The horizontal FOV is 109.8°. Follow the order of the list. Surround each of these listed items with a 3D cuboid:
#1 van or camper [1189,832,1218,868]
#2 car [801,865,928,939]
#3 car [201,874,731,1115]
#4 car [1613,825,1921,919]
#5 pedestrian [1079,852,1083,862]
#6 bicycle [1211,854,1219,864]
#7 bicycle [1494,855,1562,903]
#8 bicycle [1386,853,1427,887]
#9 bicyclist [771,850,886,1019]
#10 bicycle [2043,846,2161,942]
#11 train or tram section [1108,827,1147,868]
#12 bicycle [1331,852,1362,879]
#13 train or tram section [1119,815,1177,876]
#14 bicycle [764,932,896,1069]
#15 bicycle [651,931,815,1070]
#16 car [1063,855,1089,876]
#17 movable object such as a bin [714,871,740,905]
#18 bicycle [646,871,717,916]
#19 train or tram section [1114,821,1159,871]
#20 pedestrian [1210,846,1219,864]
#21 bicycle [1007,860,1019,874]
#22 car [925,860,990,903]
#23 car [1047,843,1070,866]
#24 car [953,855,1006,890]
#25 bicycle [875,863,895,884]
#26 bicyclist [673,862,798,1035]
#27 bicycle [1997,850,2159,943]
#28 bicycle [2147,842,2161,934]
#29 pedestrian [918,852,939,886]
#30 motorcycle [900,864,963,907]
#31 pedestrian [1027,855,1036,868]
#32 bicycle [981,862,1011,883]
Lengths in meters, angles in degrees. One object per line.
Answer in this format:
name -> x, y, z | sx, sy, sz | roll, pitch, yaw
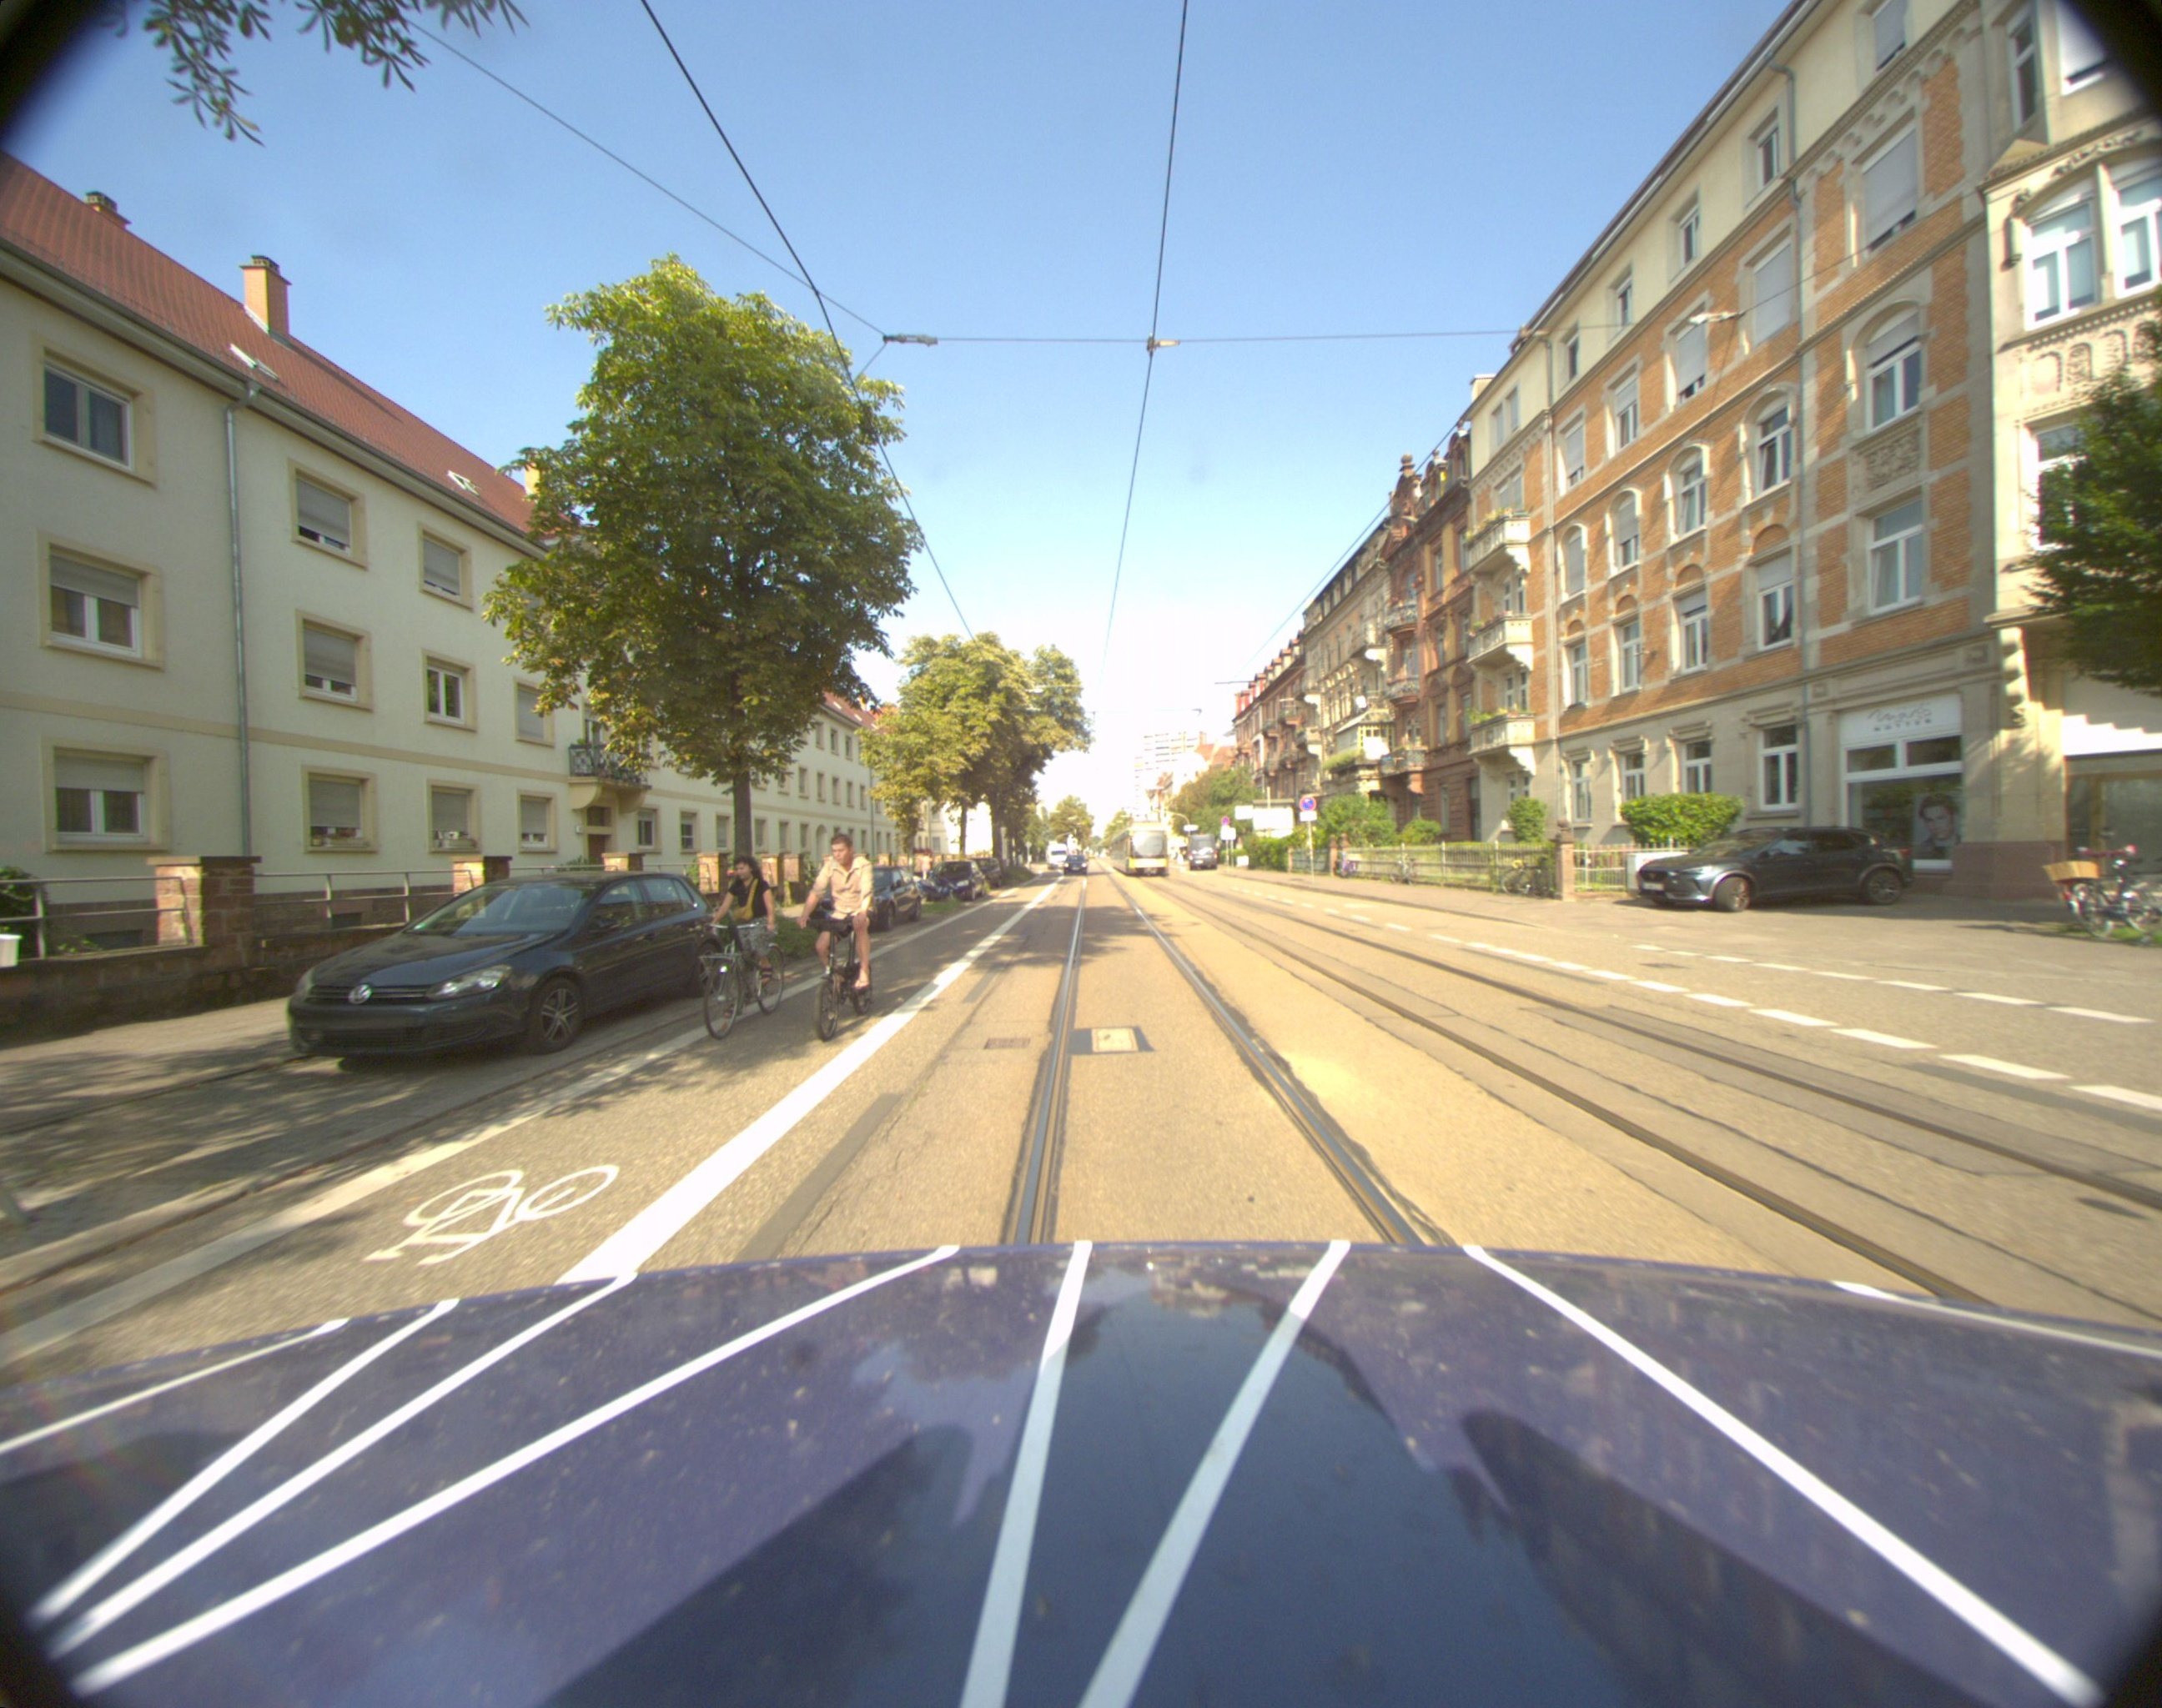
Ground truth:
van or camper -> 9.472, -0.343, 59.067 | 2.054, 2.629, 6.092 | -1, 1, 8
car -> -4.911, 1.036, 17.879 | 1.694, 1.426, 4.336 | 1, 0, 0
car -> -5.145, 1.015, 7.244 | 1.694, 1.493, 4.095 | 0, 1, 0
car -> 13.221, 0.307, 14.863 | 4.147, 1.534, 2.064 | -3, 1, 0
pedestrian -> -0.054, 0.537, 120.290 | 0.590, 1.535, 0.607 | -2, 0, 3
bicycle -> 12.915, 0.497, 73.049 | 0.527, 0.922, 1.703 | -2, 0, 4
bicycle -> 10.791, 0.579, 18.407 | 0.546, 1.052, 1.840 | -6, 0, 2
bicycle -> 10.875, 0.526, 25.432 | 0.546, 1.052, 1.840 | -6, 0, 2
bicyclist -> -2.245, 0.676, 6.866 | 0.628, 1.393, 0.929 | -4, 1, 0
bicycle -> 13.775, 0.498, 10.005 | 1.863, 1.174, 0.543 | -1, 1, -10
train or tram section -> 4.302, -0.579, 73.324 | 2.741, 3.485, 15.432 | -2, 0, 0
bicycle -> 10.939, 0.462, 31.366 | 0.608, 1.052, 1.840 | -6, 0, 2
train or tram section -> 4.146, -0.508, 49.519 | 2.741, 3.485, 10.775 | -2, 0, 0
bicycle -> -2.206, 1.262, 6.885 | 0.628, 0.903, 1.525 | -4, 1, 0
bicycle -> -3.160, 1.291, 7.105 | 0.656, 0.903, 1.775 | -4, 0, 0
car -> -0.320, 0.814, 55.688 | 1.775, 1.459, 4.000 | -3, 0, 1
movable object such as a bin -> -11.432, 1.092, 24.555 | 0.507, 1.063, 0.660 | -1, 1, 2
bicycle -> -11.041, 1.067, 21.108 | 0.774, 1.097, 2.333 | -2, 0, -2
train or tram section -> 4.223, -0.582, 60.217 | 2.741, 3.485, 10.775 | -2, 0, 0
pedestrian -> 12.727, 0.124, 72.498 | 0.639, 1.668, 0.633 | -2, 0, -11
bicycle -> -5.417, 1.027, 60.337 | 0.774, 1.097, 2.333 | -2, 0, -2
car -> -4.571, 0.970, 28.659 | 1.649, 1.440, 4.245 | 0, 1, 1
car -> -2.294, 0.037, 79.415 | 2.087, 2.264, 4.827 | -2, 0, 1
car -> -4.812, 0.846, 36.585 | 1.648, 1.531, 3.843 | 0, 1, 6
bicycle -> -10.539, 1.047, 40.910 | 0.525, 1.067, 1.728 | -2, 0, 2
bicyclist -> -3.197, 0.835, 7.113 | 0.656, 1.465, 0.908 | -4, 1, 0
bicycle -> 13.697, 0.560, 10.448 | 1.853, 1.190, 0.543 | -1, 1, -10
bicycle -> 15.640, 0.454, 10.100 | 1.770, 1.250, 0.544 | -1, 1, 15
pedestrian -> -7.888, 0.759, 39.310 | 0.754, 1.739, 0.878 | -2, 1, 7
motorcycle -> -4.811, 1.025, 24.577 | 1.859, 1.281, 0.705 | 2, -4, -2
pedestrian -> -6.657, 0.990, 101.730 | 1.079, 1.714, 0.969 | 1, 0, 0
bicycle -> -4.788, 1.036, 42.982 | 0.524, 1.067, 1.732 | -2, 1, 42
